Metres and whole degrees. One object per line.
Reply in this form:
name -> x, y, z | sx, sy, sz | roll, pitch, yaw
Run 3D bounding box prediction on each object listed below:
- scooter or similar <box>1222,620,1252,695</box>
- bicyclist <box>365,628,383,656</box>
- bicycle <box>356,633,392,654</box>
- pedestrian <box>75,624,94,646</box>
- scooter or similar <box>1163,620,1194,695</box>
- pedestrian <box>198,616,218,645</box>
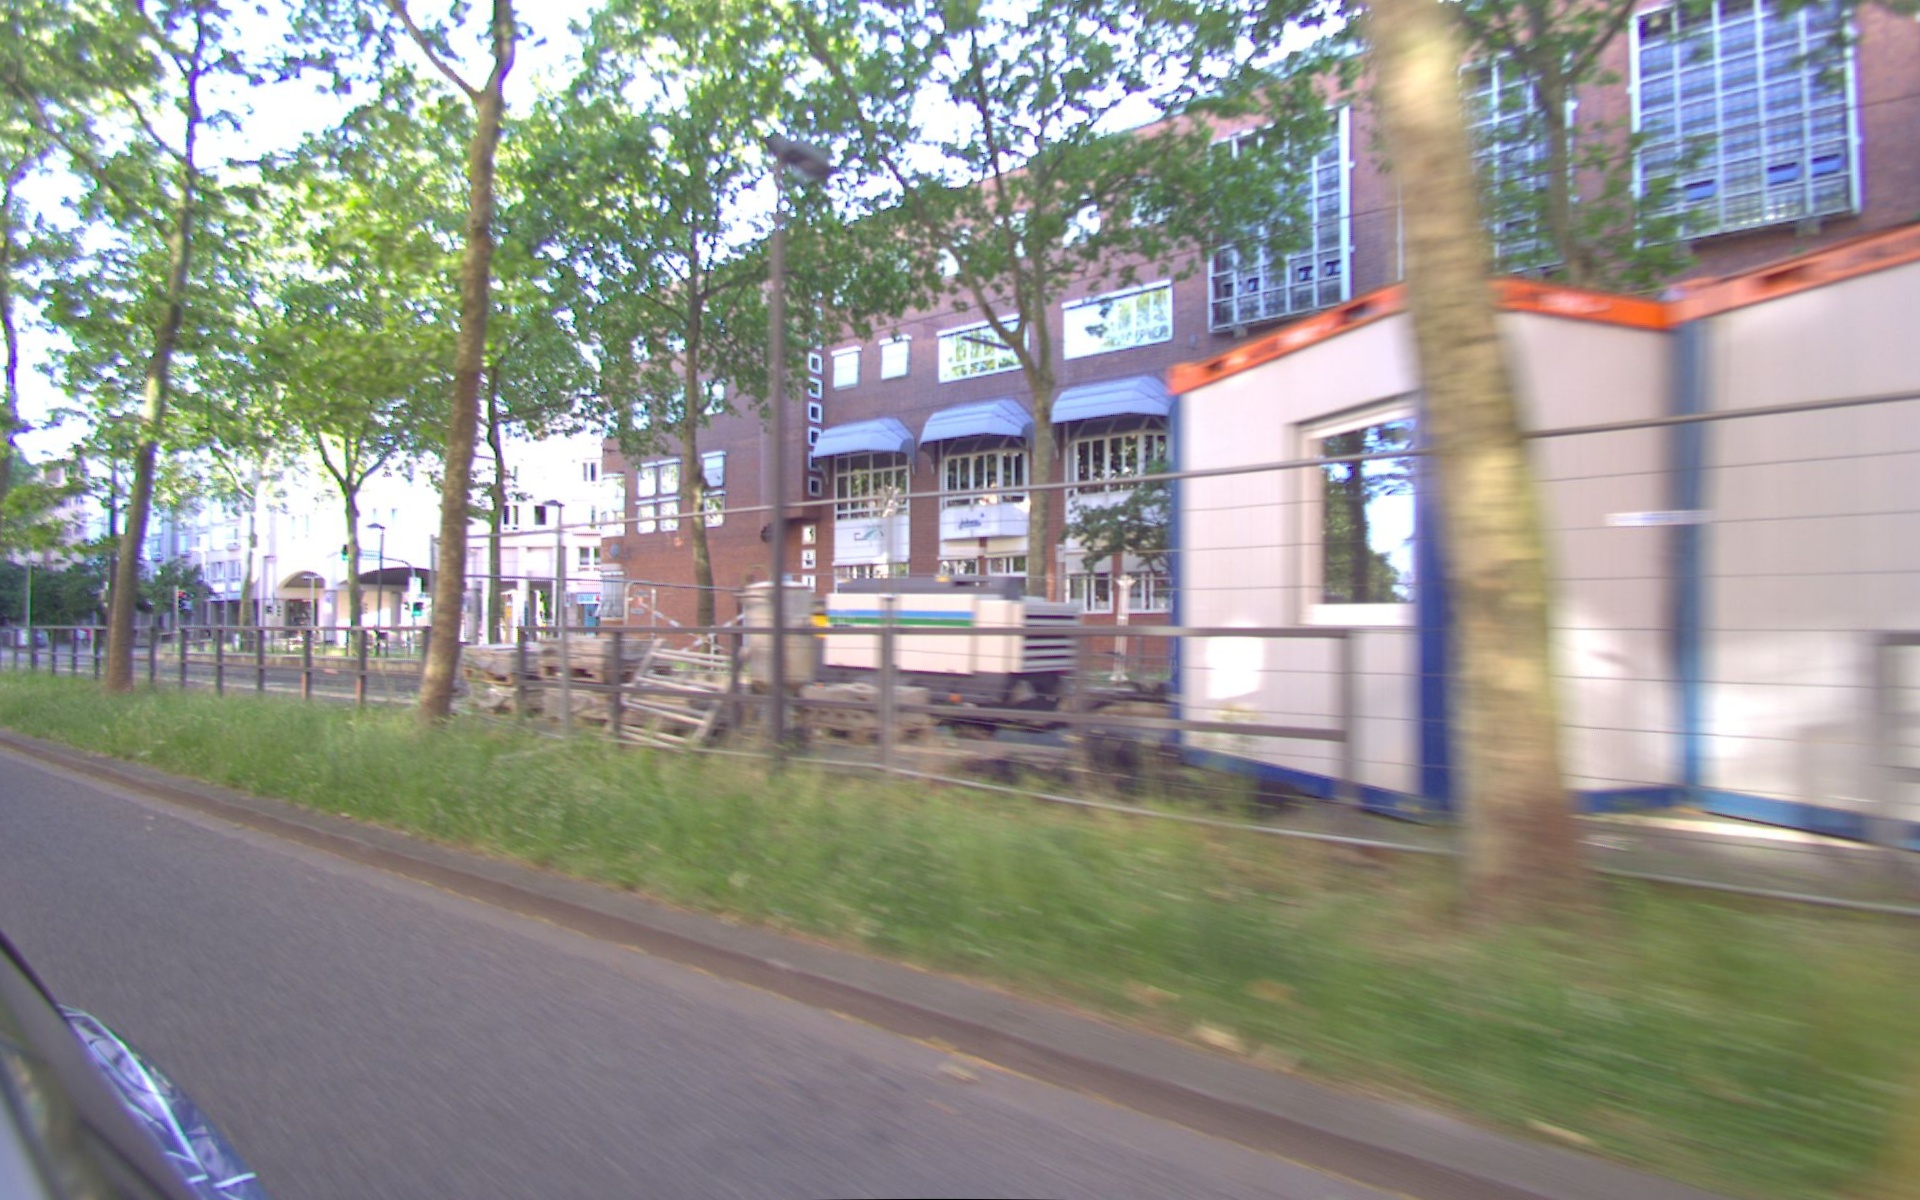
scooter or similar -> 6.590, 1.359, 24.070 | 0.572, 1.739, 0.526 | -1, 0, 29
bicyclist -> -36.575, 2.618, 63.141 | 0.660, 1.661, 0.718 | -1, 0, 6
bicycle -> -36.557, 2.687, 63.145 | 1.796, 1.271, 0.772 | -1, 0, 6
pedestrian -> -67.030, 2.683, 77.508 | 0.876, 1.613, 0.993 | -1, 0, 42
scooter or similar -> 5.194, 1.348, 24.076 | 0.572, 1.739, 0.526 | -1, 0, 29
pedestrian -> -54.782, 2.229, 73.709 | 0.875, 2.029, 0.993 | -1, 0, 41
